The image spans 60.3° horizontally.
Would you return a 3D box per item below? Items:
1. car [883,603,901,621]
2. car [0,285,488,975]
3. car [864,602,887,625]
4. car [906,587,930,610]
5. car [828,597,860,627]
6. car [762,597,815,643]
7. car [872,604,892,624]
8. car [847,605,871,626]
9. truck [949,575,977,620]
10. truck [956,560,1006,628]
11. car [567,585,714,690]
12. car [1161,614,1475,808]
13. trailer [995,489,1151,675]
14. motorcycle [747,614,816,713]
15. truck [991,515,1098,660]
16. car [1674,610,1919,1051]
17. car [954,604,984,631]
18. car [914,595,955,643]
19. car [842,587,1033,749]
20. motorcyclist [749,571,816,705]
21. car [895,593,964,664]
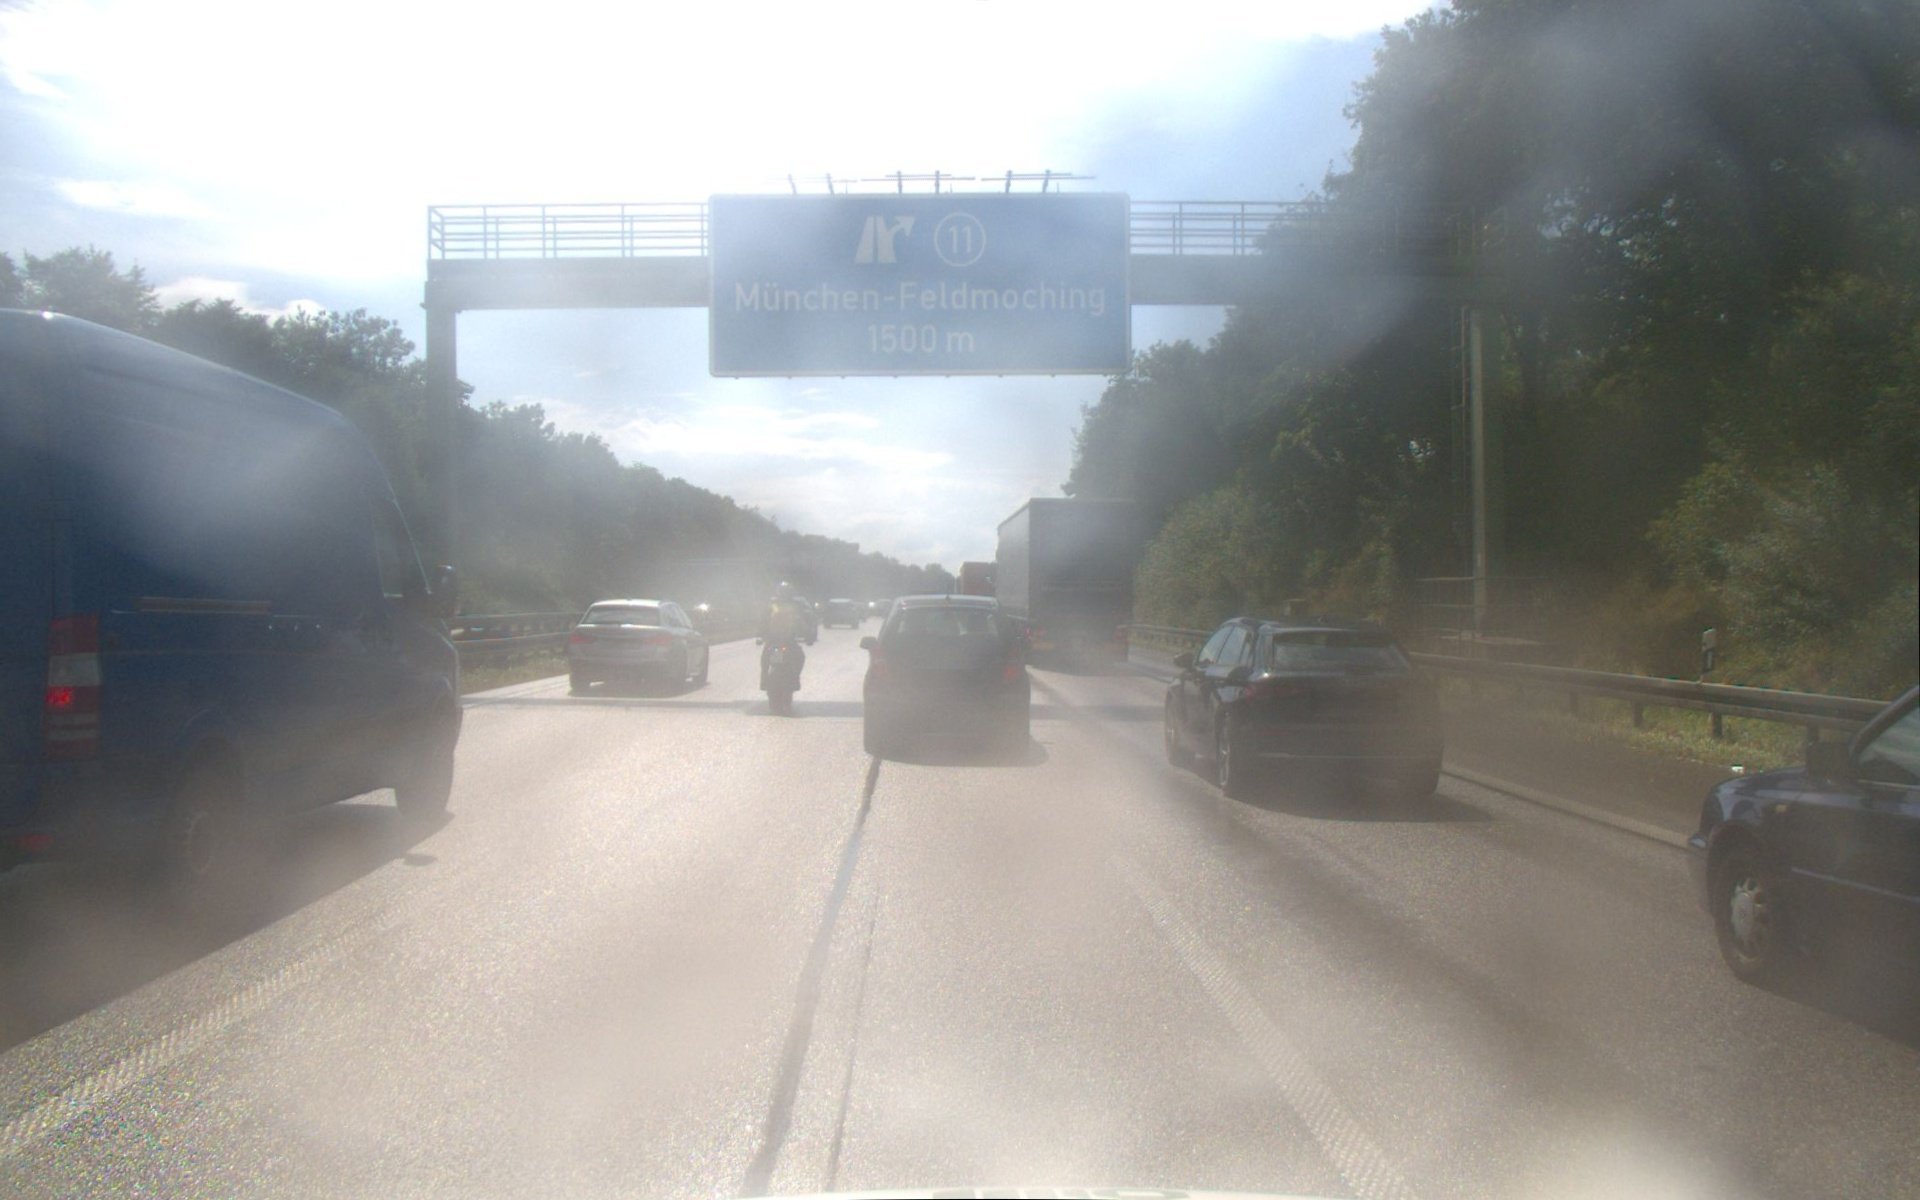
[{"bbox_3d":[-7.996,1.392,194.757,1.953,2.049,3.999,1,-1,-1],"label":"car"},{"bbox_3d":[-4.429,0.102,9.329,1.975,2.695,5.775,1,0,-1],"label":"car"},{"bbox_3d":[-7.652,1.218,149.450,1.953,2.049,3.999,1,-1,-1],"label":"car"},{"bbox_3d":[-2.923,-0.090,115.307,1.599,1.516,3.435,1,0,-1],"label":"car"},{"bbox_3d":[-6.460,0.668,92.260,1.641,1.625,3.435,1,0,-1],"label":"car"},{"bbox_3d":[-6.426,0.721,62.370,1.856,1.656,4.191,1,0,-4],"label":"car"},{"bbox_3d":[-8.138,1.429,172.249,1.953,2.049,3.999,1,-1,-1],"label":"car"},{"bbox_3d":[-7.582,1.169,124.327,1.641,1.516,3.435,1,0,-1],"label":"car"},{"bbox_3d":[0.286,-0.207,180.562,2.823,4.770,12.655,1,-1,-1],"label":"truck"},{"bbox_3d":[1.354,-0.377,113.476,3.137,4.481,9.430,1,0,-1],"label":"truck"},{"bbox_3d":[-5.330,0.593,28.096,1.723,1.622,4.329,1,0,-1],"label":"car"},{"bbox_3d":[2.952,0.850,14.581,1.719,1.421,4.367,1,0,-1],"label":"car"},{"bbox_3d":[2.840,-0.396,46.328,3.026,4.388,14.100,1,0,-1],"label":"trailer"},{"bbox_3d":[-2.461,0.855,23.019,0.803,1.285,2.116,1,0,-3],"label":"motorcycle"},{"bbox_3d":[2.654,-0.393,53.601,2.990,4.400,5.885,1,0,-1],"label":"truck"},{"bbox_3d":[4.051,0.783,5.494,1.617,1.481,3.742,0,0,-3],"label":"car"},{"bbox_3d":[0.519,1.000,95.406,1.641,1.516,3.435,1,0,-1],"label":"car"},{"bbox_3d":[-1.095,0.790,69.987,1.641,1.970,3.772,1,0,-1],"label":"car"},{"bbox_3d":[-0.274,0.684,18.561,1.876,1.592,4.312,1,0,-1],"label":"car"},{"bbox_3d":[-2.455,0.517,23.011,0.805,1.791,1.389,1,-1,-3],"label":"motorcyclist"},{"bbox_3d":[-0.944,0.851,49.969,1.953,2.049,3.998,1,-1,-2],"label":"car"}]
